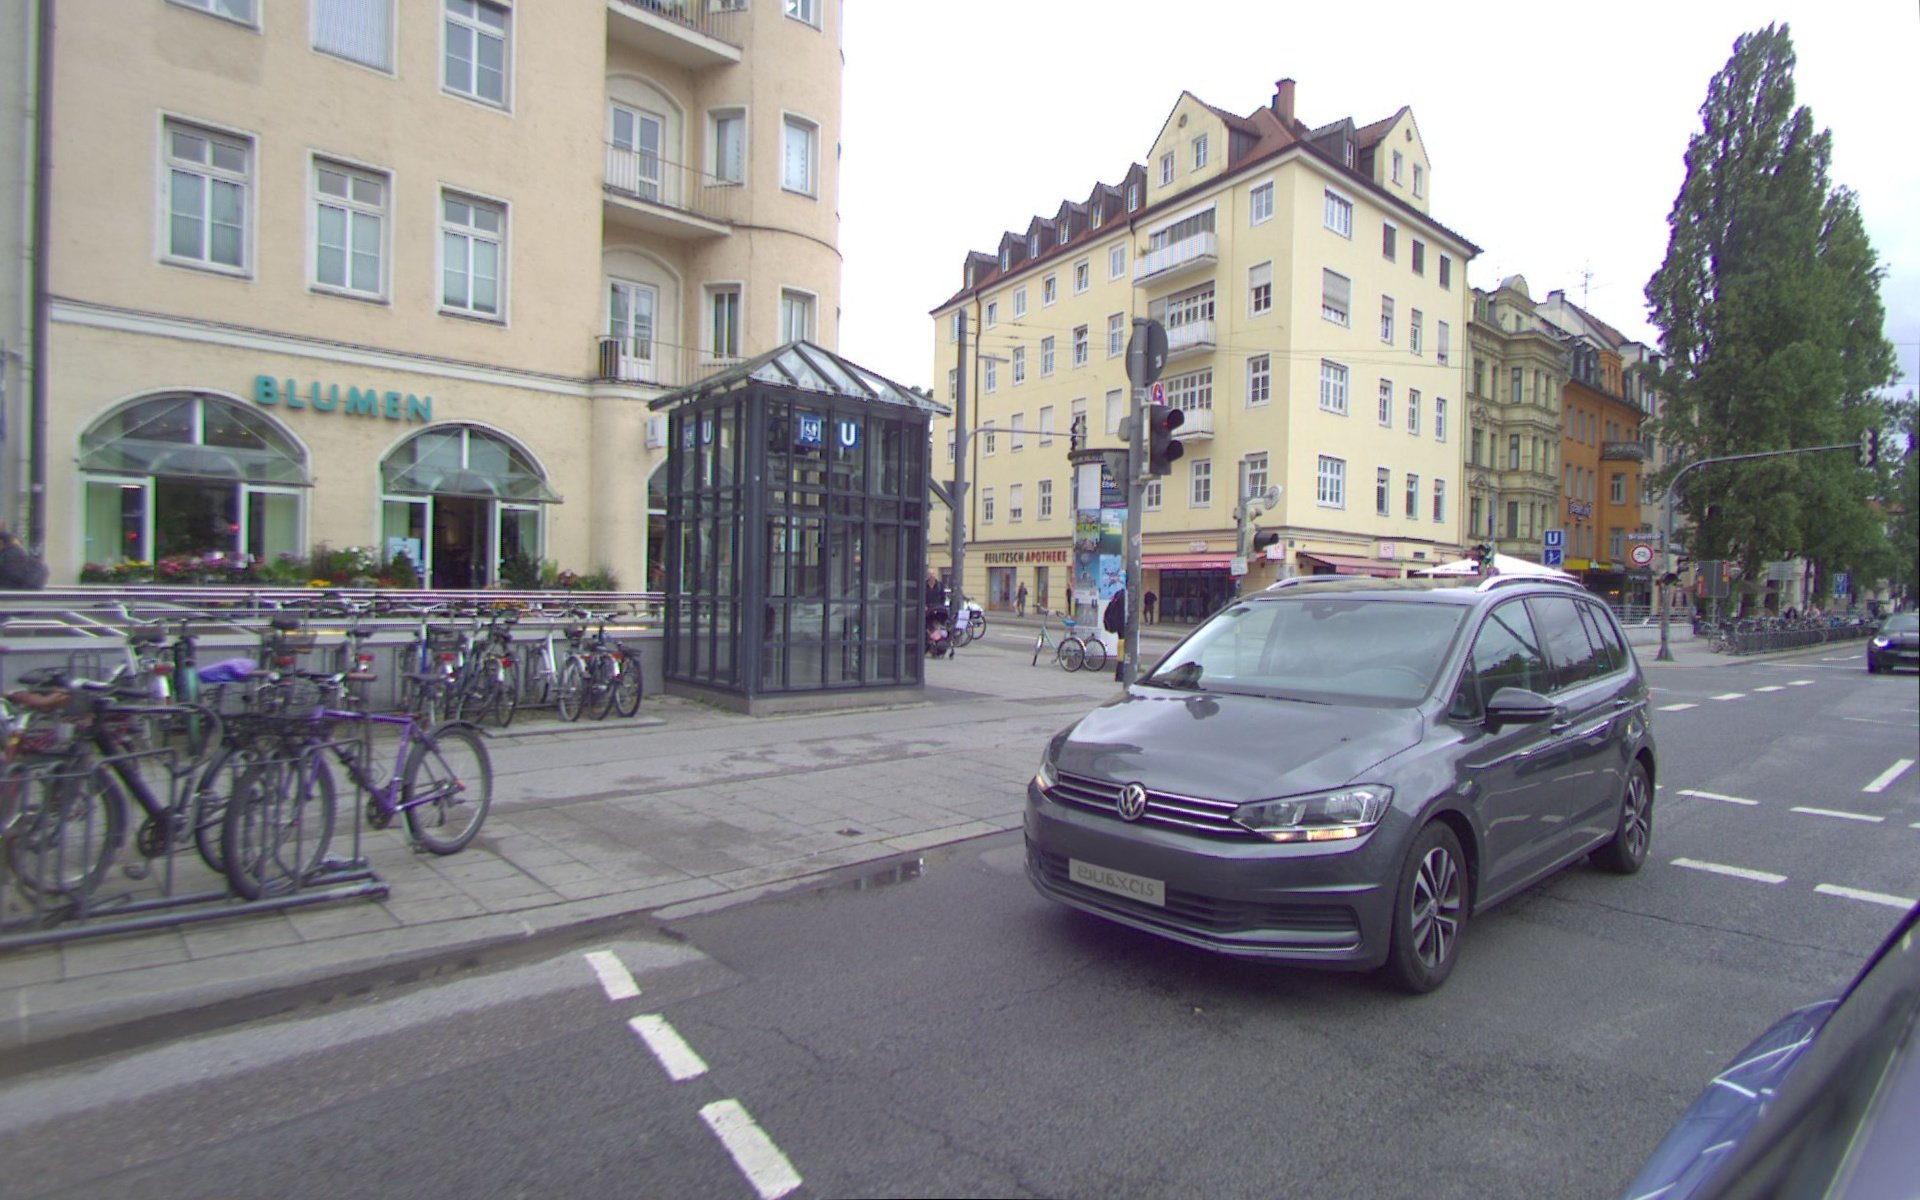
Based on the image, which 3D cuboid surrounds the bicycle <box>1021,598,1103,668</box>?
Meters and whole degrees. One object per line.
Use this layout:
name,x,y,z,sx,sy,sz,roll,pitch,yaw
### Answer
bicycle,1.864,0.585,18.682,0.515,1.174,1.573,3,0,-38

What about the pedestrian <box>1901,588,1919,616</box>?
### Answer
pedestrian,63.103,0.135,67.061,0.741,1.824,0.883,2,-1,-30

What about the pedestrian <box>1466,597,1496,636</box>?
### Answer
pedestrian,18.074,0.560,35.110,0.782,1.328,0.679,0,1,-41

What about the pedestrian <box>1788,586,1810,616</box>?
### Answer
pedestrian,44.815,0.049,54.042,0.749,1.582,0.761,1,0,-40

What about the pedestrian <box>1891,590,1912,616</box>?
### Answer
pedestrian,61.980,0.189,66.641,0.743,1.659,0.700,1,-1,6

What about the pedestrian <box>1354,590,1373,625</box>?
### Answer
pedestrian,15.456,0.267,38.740,0.518,1.315,0.479,1,0,-43

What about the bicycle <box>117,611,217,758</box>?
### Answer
bicycle,-6.368,0.615,8.095,0.500,0.976,1.840,1,1,-42

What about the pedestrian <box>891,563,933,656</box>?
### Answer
pedestrian,-0.905,0.172,19.131,0.550,1.692,0.568,4,-1,-18

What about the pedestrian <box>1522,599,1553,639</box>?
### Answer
pedestrian,19.620,0.627,34.353,0.782,1.327,0.679,0,1,-41

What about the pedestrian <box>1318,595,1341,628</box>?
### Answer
pedestrian,13.830,0.431,37.873,0.691,1.197,0.515,1,1,-43

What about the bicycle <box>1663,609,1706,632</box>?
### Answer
bicycle,35.705,0.996,49.909,0.379,1.059,1.730,2,-1,-30

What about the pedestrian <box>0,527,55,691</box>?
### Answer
pedestrian,-10.101,0.079,10.719,0.708,1.691,0.659,1,1,-39

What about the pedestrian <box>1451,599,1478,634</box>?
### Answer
pedestrian,18.181,0.585,36.474,0.688,1.218,0.627,0,1,-41

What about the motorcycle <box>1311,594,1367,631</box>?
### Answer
motorcycle,12.817,0.418,34.275,1.744,1.215,0.539,1,1,20

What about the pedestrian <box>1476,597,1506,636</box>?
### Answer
pedestrian,18.732,0.562,35.685,0.782,1.328,0.679,0,1,-41

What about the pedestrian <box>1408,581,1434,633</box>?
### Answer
pedestrian,15.823,0.231,34.751,0.752,1.716,0.762,1,1,24

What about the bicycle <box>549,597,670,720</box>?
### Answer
bicycle,-3.659,0.555,10.474,0.500,1.108,1.840,1,1,-42

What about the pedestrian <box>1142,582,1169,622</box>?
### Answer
pedestrian,7.942,0.073,41.173,0.754,1.605,0.760,1,1,-37

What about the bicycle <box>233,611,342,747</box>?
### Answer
bicycle,-5.779,0.617,8.655,0.500,0.976,1.840,1,1,-42

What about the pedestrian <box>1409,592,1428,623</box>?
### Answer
pedestrian,19.630,0.303,43.354,0.543,1.305,0.542,1,1,-41

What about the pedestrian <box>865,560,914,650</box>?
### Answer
pedestrian,-1.392,0.104,20.155,0.638,1.727,0.728,3,-1,20

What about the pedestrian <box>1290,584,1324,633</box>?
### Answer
pedestrian,12.469,0.292,36.382,1.029,1.704,0.831,1,1,26

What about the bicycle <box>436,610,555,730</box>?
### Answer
bicycle,-4.467,0.620,9.667,0.500,0.976,1.840,1,1,-42

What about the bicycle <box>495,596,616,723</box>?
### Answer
bicycle,-4.061,0.542,10.087,0.500,1.108,1.840,1,1,-42

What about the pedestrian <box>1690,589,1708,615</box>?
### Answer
pedestrian,49.210,0.145,67.394,0.999,1.735,0.747,1,1,-41

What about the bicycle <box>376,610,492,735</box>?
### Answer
bicycle,-4.902,0.620,9.372,0.500,0.976,1.840,1,1,-42

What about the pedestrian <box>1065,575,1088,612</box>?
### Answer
pedestrian,5.415,-0.286,47.107,0.690,1.704,0.854,1,1,-31

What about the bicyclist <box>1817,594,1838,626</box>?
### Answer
bicyclist,44.809,0.528,52.295,0.923,1.623,0.681,1,1,-41

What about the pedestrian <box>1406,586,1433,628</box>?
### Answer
pedestrian,18.134,0.264,39.945,0.772,1.653,0.711,1,1,-41

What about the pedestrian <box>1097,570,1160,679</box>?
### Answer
pedestrian,2.734,0.386,16.527,0.803,1.712,0.837,1,1,-3

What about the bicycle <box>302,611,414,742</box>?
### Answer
bicycle,-5.369,0.624,8.980,0.500,0.976,1.840,1,1,-42

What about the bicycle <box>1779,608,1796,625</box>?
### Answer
bicycle,45.253,0.882,55.325,1.861,0.903,0.457,0,1,-43

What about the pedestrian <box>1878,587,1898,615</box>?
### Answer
pedestrian,61.110,0.073,66.652,0.638,1.803,0.702,1,-1,-8

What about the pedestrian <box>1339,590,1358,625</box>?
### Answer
pedestrian,15.037,0.279,39.139,0.518,1.315,0.479,1,0,-43

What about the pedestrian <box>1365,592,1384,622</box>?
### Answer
pedestrian,16.189,0.269,39.520,0.518,1.180,0.479,1,0,-43

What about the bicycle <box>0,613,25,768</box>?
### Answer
bicycle,-7.170,0.620,7.404,0.445,0.976,1.757,1,1,-42

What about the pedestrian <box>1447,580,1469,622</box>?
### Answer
pedestrian,20.920,0.039,42.473,0.654,1.761,0.601,1,1,-41

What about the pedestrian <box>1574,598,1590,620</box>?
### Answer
pedestrian,35.254,0.517,57.353,0.573,1.233,0.623,1,1,-42

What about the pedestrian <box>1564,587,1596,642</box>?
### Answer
pedestrian,20.565,0.476,33.561,0.877,1.765,0.848,1,1,33

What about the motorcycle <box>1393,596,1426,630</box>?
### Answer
motorcycle,16.080,0.459,36.195,1.543,1.171,0.487,0,1,-41

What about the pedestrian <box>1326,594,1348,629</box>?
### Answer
pedestrian,14.367,0.421,38.534,0.691,1.308,0.515,1,1,-43

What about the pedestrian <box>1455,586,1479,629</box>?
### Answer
pedestrian,19.722,0.272,39.378,0.666,1.653,0.616,1,1,-41

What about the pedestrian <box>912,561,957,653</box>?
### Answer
pedestrian,-0.510,0.140,20.353,0.623,1.774,0.652,4,-1,-18

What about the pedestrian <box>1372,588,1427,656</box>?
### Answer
pedestrian,11.871,0.586,27.325,1.045,1.777,0.936,1,1,-37

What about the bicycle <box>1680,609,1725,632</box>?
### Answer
bicycle,35.671,0.983,48.649,1.722,1.059,0.381,1,-1,43

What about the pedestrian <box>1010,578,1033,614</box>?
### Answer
pedestrian,2.926,-0.181,48.118,0.752,1.663,0.761,1,1,-31
